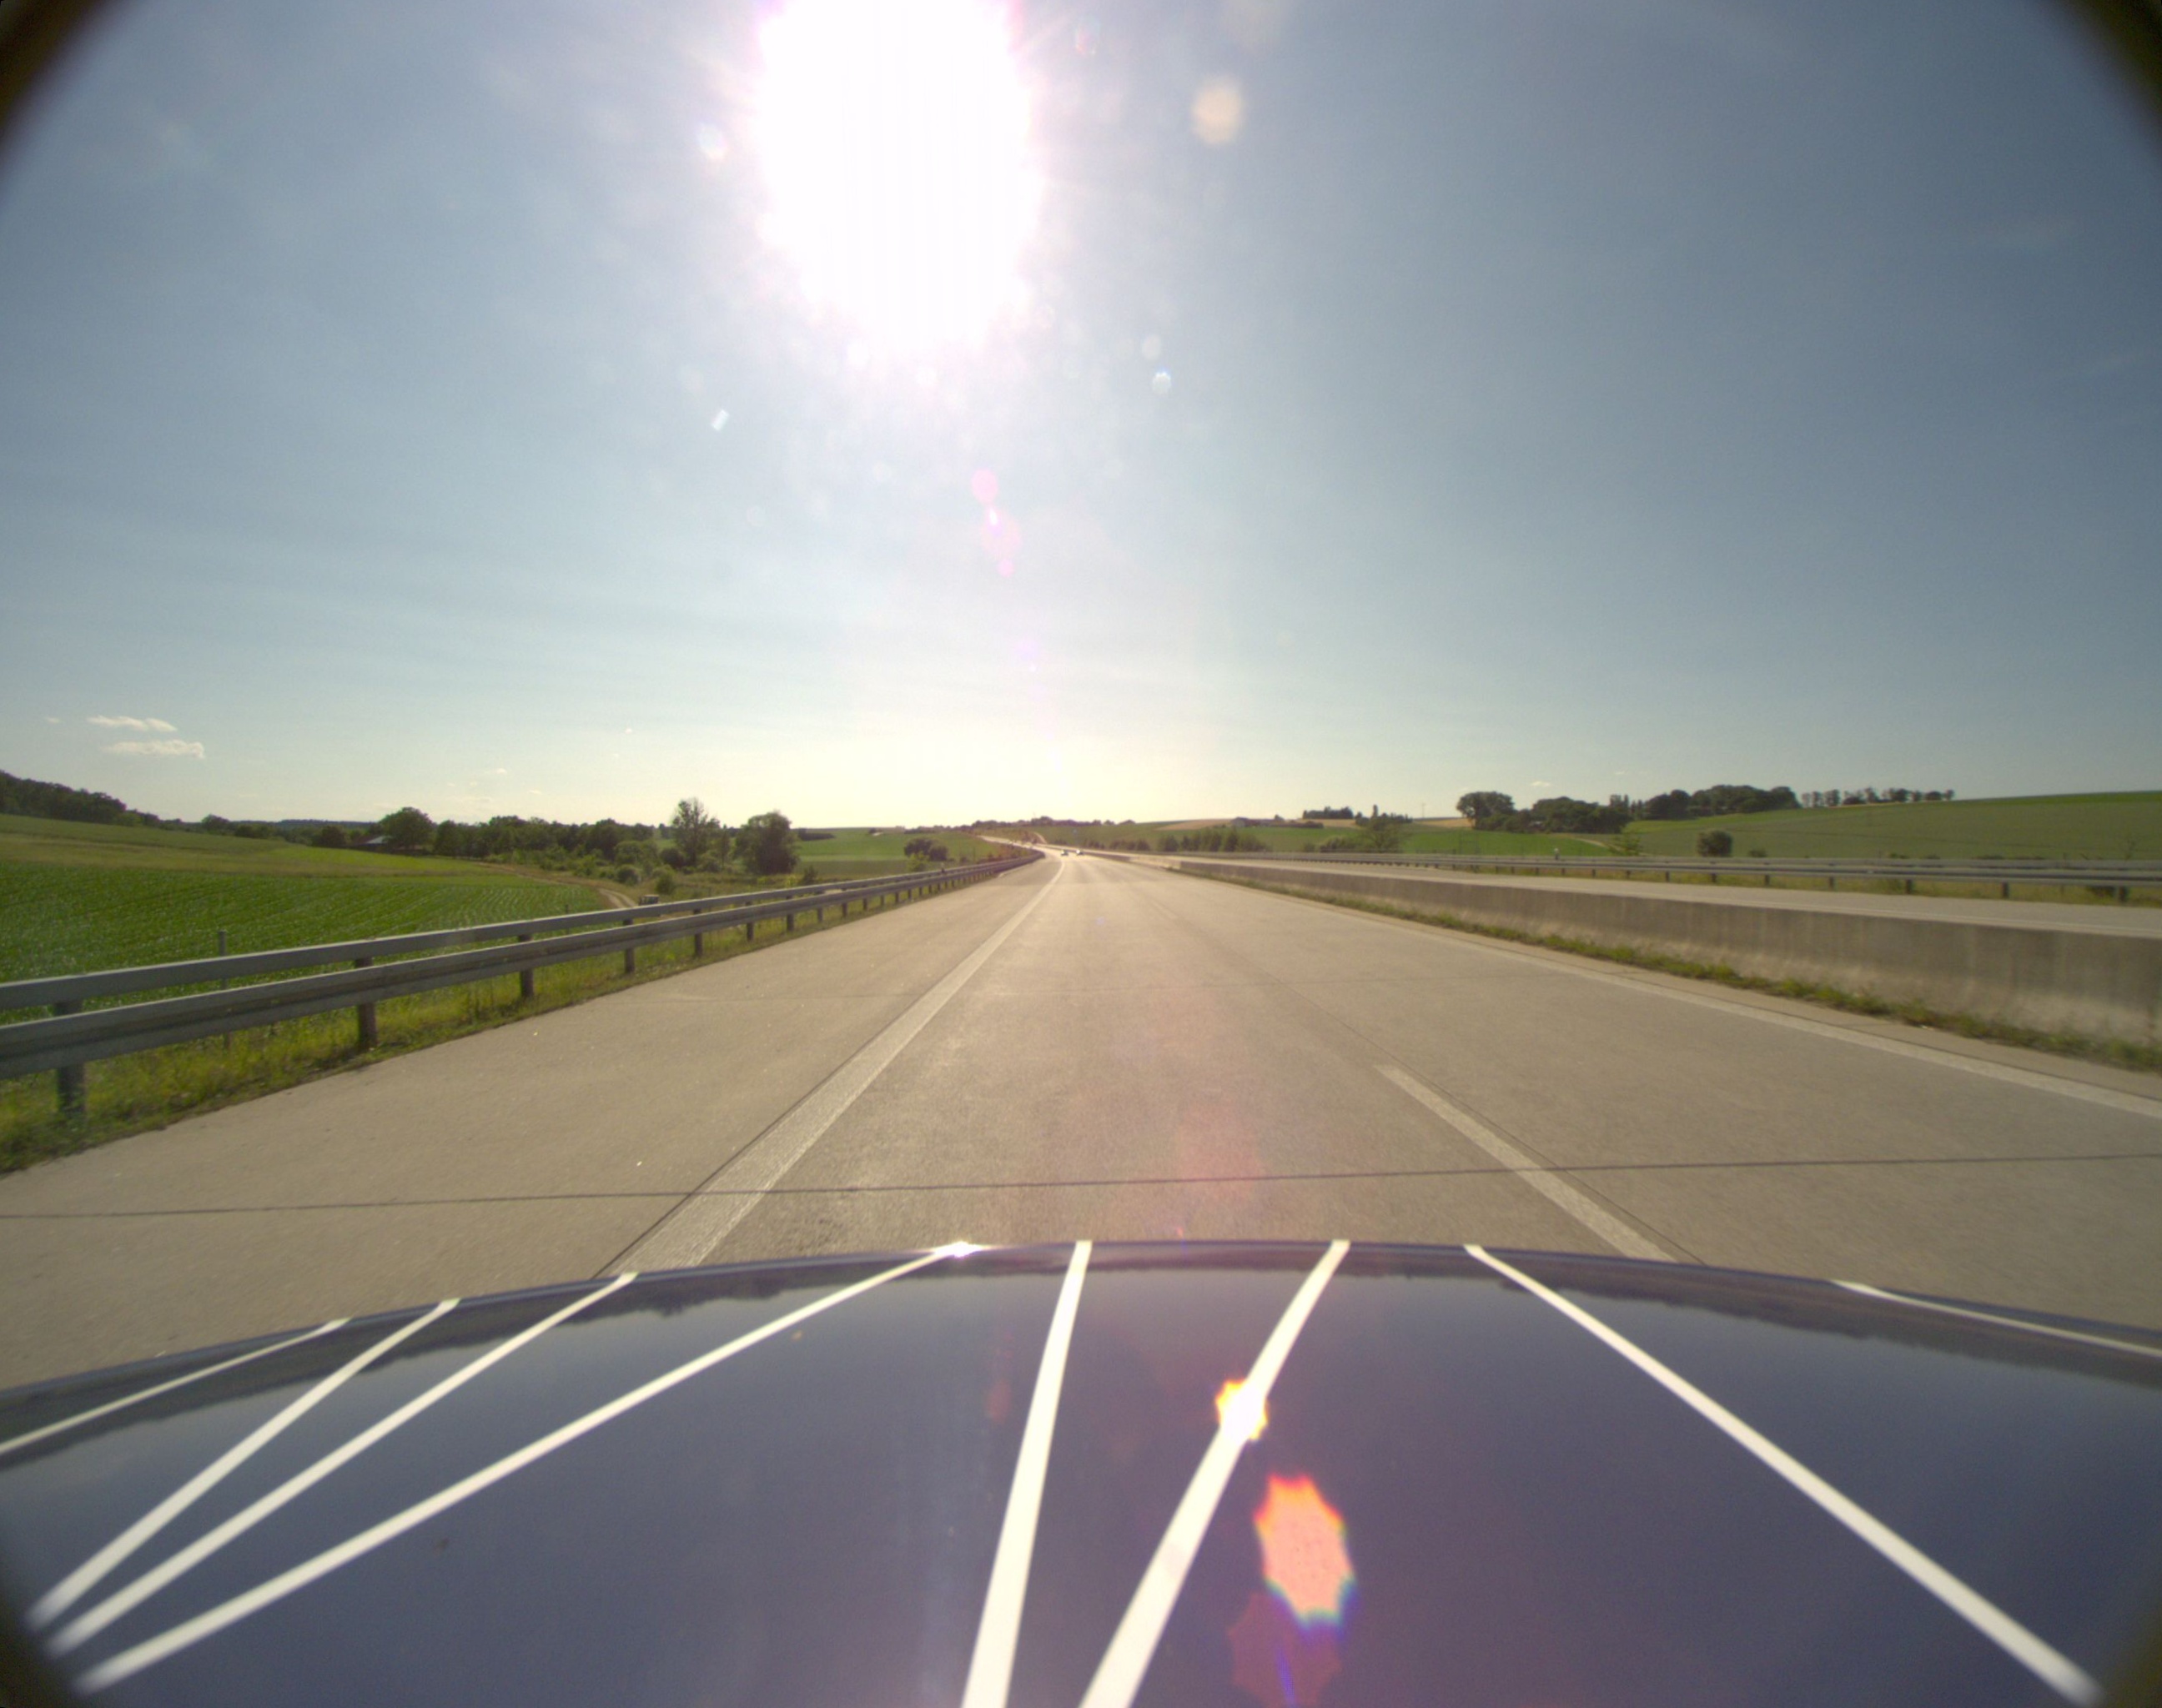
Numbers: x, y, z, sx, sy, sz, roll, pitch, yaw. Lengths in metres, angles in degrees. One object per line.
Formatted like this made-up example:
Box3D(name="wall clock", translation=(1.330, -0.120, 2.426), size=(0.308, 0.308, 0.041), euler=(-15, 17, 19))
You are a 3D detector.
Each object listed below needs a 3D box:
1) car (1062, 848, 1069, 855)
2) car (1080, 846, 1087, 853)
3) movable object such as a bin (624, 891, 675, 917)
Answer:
Box3D(name="car", translation=(-3.963, -0.598, 197.773), size=(1.715, 1.580, 4.625), euler=(-2, 2, -1))
Box3D(name="car", translation=(0.713, -1.081, 193.795), size=(1.715, 1.580, 4.625), euler=(-2, 2, 0))
Box3D(name="movable object such as a bin", translation=(-53.865, 6.176, 94.788), size=(6.214, 2.756, 3.292), euler=(-1, 3, 39))
